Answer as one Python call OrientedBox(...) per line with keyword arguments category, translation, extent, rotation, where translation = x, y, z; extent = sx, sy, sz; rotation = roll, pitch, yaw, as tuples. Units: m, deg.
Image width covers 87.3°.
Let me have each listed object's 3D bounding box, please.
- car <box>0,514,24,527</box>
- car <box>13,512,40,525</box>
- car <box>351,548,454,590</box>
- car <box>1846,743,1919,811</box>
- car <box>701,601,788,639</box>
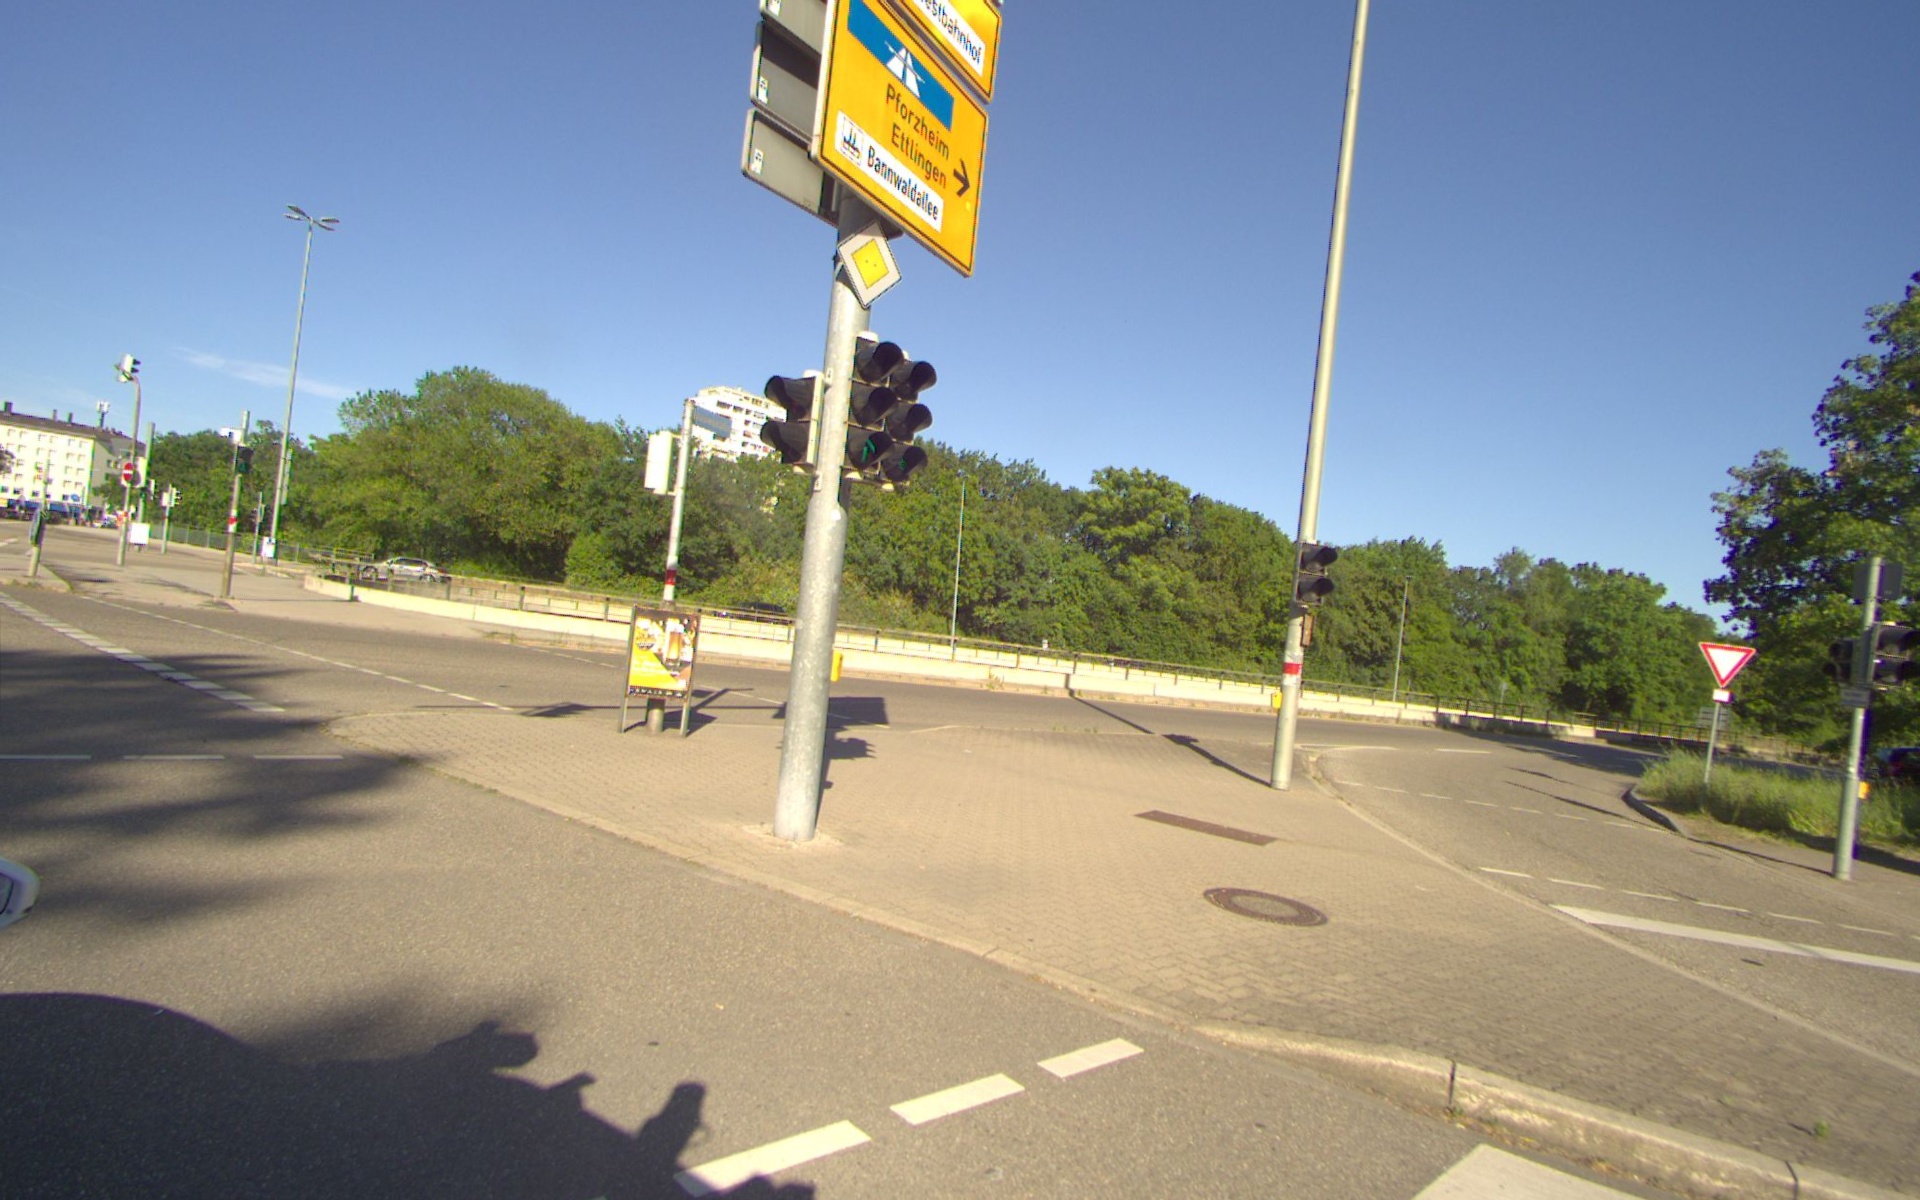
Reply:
OrientedBox(category="car", translation=(-141.718, -11.884, 150.108), extent=(1.931, 1.546, 4.065), rotation=(8, -2, -31))
OrientedBox(category="car", translation=(-149.838, -13.117, 161.558), extent=(1.928, 1.546, 4.073), rotation=(7, -1, -25))
OrientedBox(category="car", translation=(-28.995, -1.605, 52.440), extent=(4.177, 1.570, 1.857), rotation=(7, -1, -14))
OrientedBox(category="car", translation=(27.410, 5.103, 27.856), extent=(3.712, 1.580, 2.001), rotation=(7, -1, 21))
OrientedBox(category="car", translation=(-12.979, 1.218, 60.718), extent=(4.633, 1.635, 1.845), rotation=(8, -1, -33))
